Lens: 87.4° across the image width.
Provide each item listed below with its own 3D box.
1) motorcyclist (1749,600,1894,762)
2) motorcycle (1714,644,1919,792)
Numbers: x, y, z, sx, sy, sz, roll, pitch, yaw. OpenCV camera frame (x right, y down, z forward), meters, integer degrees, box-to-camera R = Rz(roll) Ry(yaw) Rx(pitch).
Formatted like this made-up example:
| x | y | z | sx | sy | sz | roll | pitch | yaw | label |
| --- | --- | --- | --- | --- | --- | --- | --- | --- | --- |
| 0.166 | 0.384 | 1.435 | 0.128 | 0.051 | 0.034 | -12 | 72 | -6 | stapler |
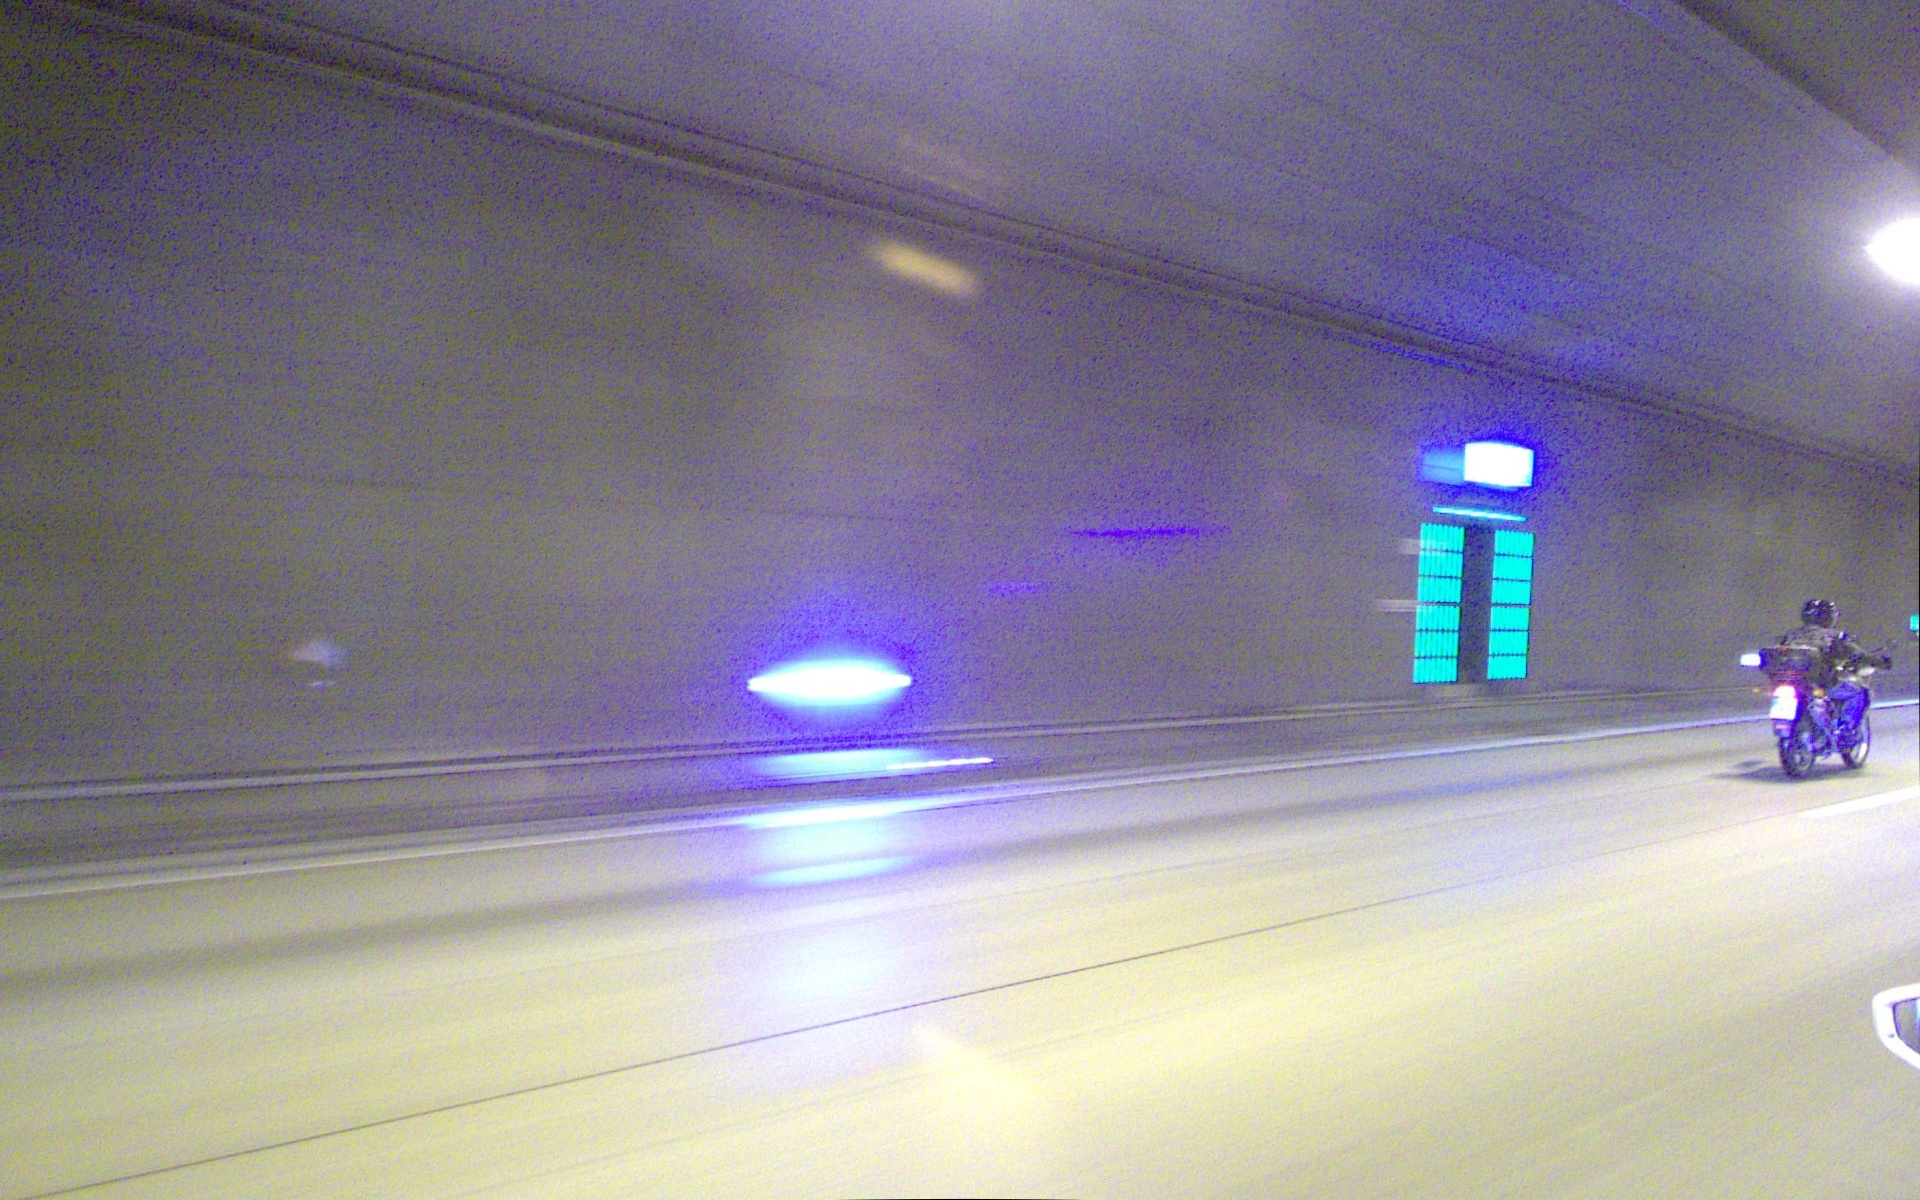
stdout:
| x | y | z | sx | sy | sz | roll | pitch | yaw | label |
| --- | --- | --- | --- | --- | --- | --- | --- | --- | --- |
| 8.433 | 0.757 | 9.852 | 0.811 | 1.497 | 0.836 | 1 | 0 | -28 | motorcyclist |
| 8.574 | 1.096 | 9.928 | 2.573 | 1.262 | 0.842 | 1 | 0 | -30 | motorcycle |
